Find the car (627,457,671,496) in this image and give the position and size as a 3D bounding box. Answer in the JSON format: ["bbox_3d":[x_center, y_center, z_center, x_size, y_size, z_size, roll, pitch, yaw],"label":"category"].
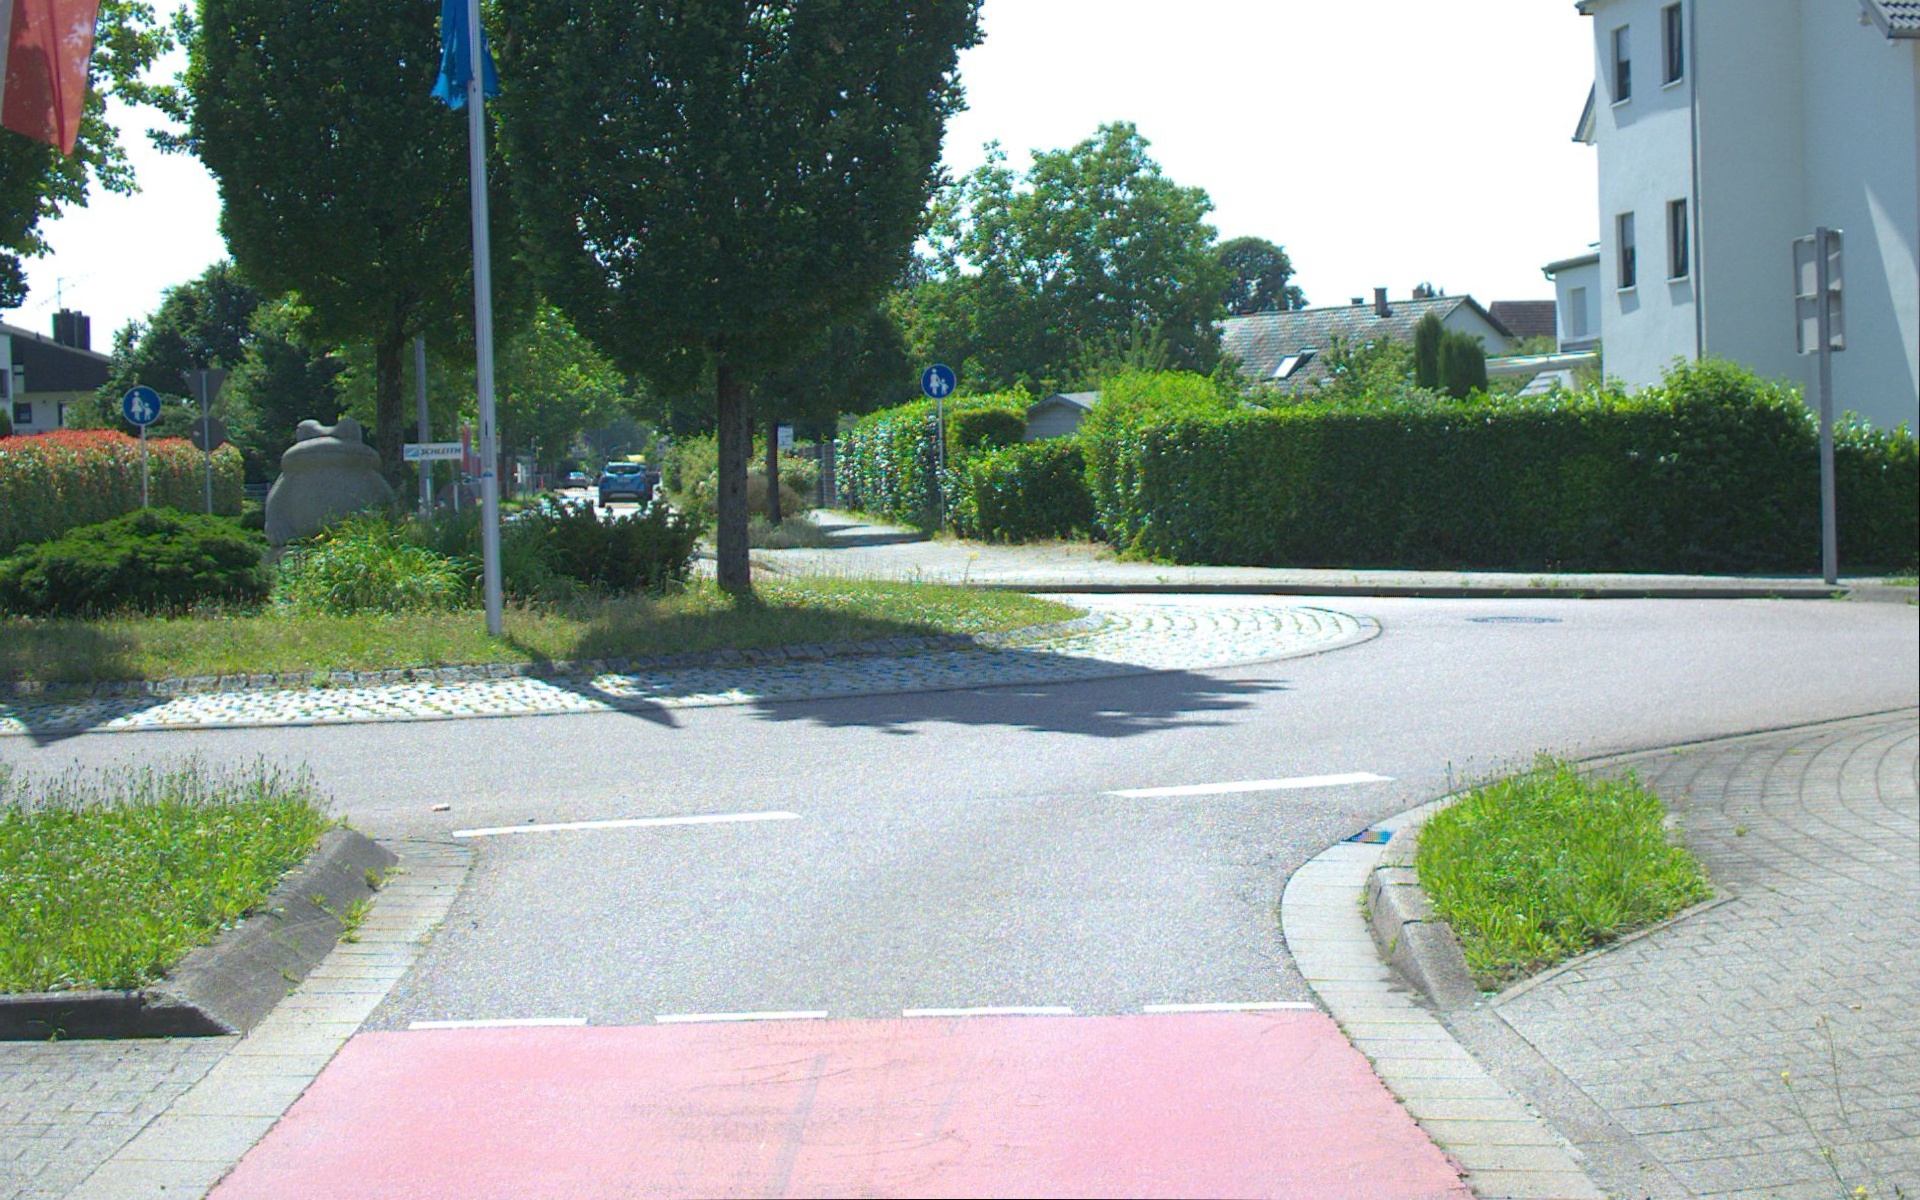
[{"bbox_3d":[-14.446,-5.722,159.836,1.993,1.763,4.001,-1,2,-4],"label":"car"}]

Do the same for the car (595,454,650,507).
[{"bbox_3d":[-12.196,-4.325,124.449,1.922,1.879,4.001,-1,2,-5],"label":"car"}]
